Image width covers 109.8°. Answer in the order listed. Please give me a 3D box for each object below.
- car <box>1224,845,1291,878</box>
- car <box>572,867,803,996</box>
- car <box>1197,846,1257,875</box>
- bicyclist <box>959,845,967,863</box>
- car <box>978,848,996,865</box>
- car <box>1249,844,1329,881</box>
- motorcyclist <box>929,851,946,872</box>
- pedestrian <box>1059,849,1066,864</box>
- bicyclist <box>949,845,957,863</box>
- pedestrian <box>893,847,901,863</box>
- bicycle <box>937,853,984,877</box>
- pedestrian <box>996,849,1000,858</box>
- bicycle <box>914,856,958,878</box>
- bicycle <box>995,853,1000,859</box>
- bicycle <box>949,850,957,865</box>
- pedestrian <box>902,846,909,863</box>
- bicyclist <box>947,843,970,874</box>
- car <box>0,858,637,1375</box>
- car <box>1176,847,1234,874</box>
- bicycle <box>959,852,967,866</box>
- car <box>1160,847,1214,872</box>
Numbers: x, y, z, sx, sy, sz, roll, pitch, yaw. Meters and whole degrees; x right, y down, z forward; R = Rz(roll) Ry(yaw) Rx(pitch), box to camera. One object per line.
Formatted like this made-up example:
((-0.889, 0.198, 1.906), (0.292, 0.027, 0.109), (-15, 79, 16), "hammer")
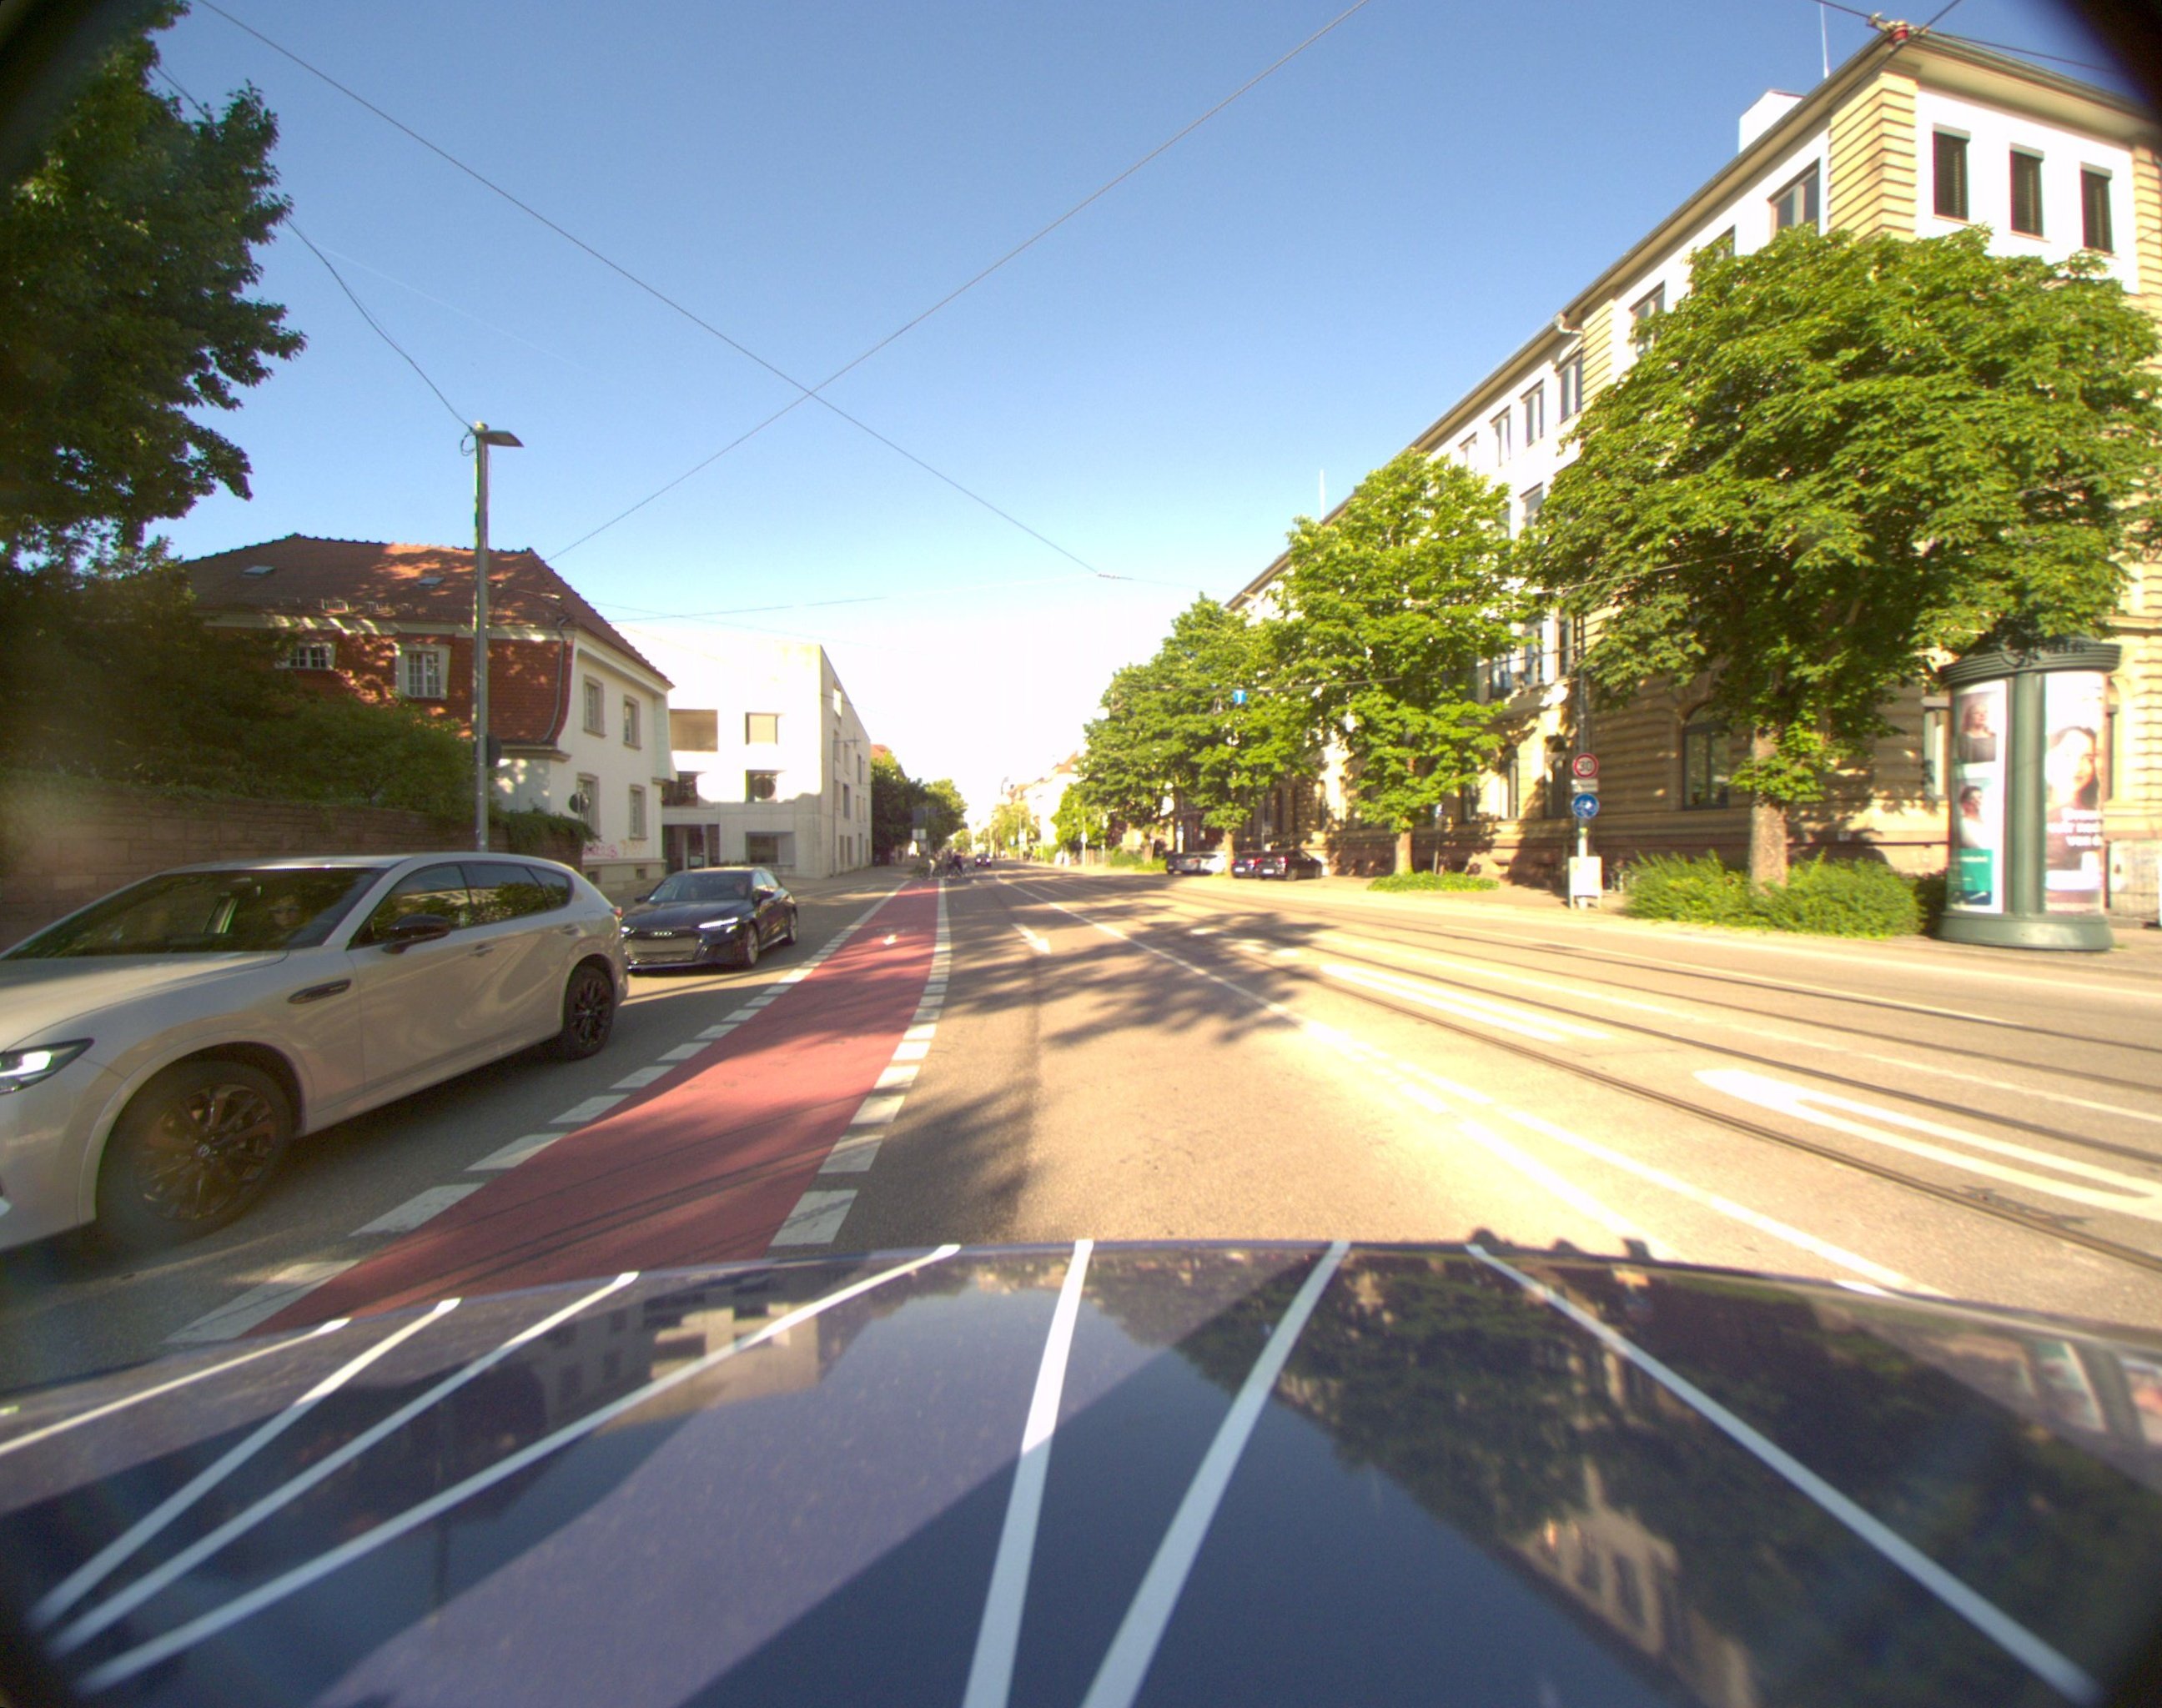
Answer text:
((9.419, 0.385, 40.411), (3.657, 1.552, 1.645), (-3, 1, -43), "car")
((-5.620, 0.995, 11.479), (1.789, 1.425, 3.997), (-2, 1, -8), "car")
((8.890, 0.383, 46.127), (3.657, 1.552, 1.645), (-3, 1, -43), "car")
((-10.559, -0.008, 67.916), (0.676, 1.638, 1.028), (0, 1, -8), "bicyclist")
((-9.521, 0.237, 77.005), (1.649, 1.552, 3.648), (-2, 1, -5), "car")
((10.383, 0.402, 37.751), (4.189, 1.621, 1.841), (-3, 1, -43), "car")
((-8.585, 0.460, 45.413), (0.855, 1.243, 0.675), (-1, 1, -23), "motorcyclist")
((-2.079, 0.316, 85.035), (0.676, 1.638, 0.817), (-1, 1, -9), "pedestrian")
((-11.497, -0.020, 68.143), (0.676, 1.638, 1.028), (0, 1, -8), "bicyclist")
((-18.653, 0.081, 77.133), (0.676, 1.638, 0.817), (-1, 1, -9), "pedestrian")
((-6.559, 0.580, 41.410), (2.461, 1.243, 0.674), (-1, 1, -37), "bicycle")
((-15.993, -0.070, 146.077), (0.675, 1.638, 0.817), (-1, 1, 0), "pedestrian")
((-8.653, 0.755, 45.388), (2.459, 1.243, 0.675), (0, 1, -23), "bicycle")
((-15.988, 0.379, 146.093), (0.676, 1.243, 2.456), (-1, 1, 0), "bicycle")
((-11.514, 0.310, 68.231), (0.676, 1.243, 2.454), (0, 1, -8), "bicycle")
((-17.853, 0.053, 77.262), (0.676, 1.638, 0.817), (-1, 1, -9), "pedestrian")
((-6.656, 0.232, 41.328), (1.031, 1.638, 0.674), (-1, 1, -37), "bicyclist")
((-4.806, 0.935, 4.471), (1.946, 1.682, 4.529), (-2, 1, -5), "car")
((7.912, 0.384, 48.358), (3.657, 1.552, 1.645), (-3, 1, -43), "car")
((-10.554, 0.463, 67.888), (0.676, 1.243, 2.454), (0, 1, -8), "bicycle")
((7.236, 0.355, 51.769), (3.657, 1.552, 1.645), (-3, 1, -43), "car")
